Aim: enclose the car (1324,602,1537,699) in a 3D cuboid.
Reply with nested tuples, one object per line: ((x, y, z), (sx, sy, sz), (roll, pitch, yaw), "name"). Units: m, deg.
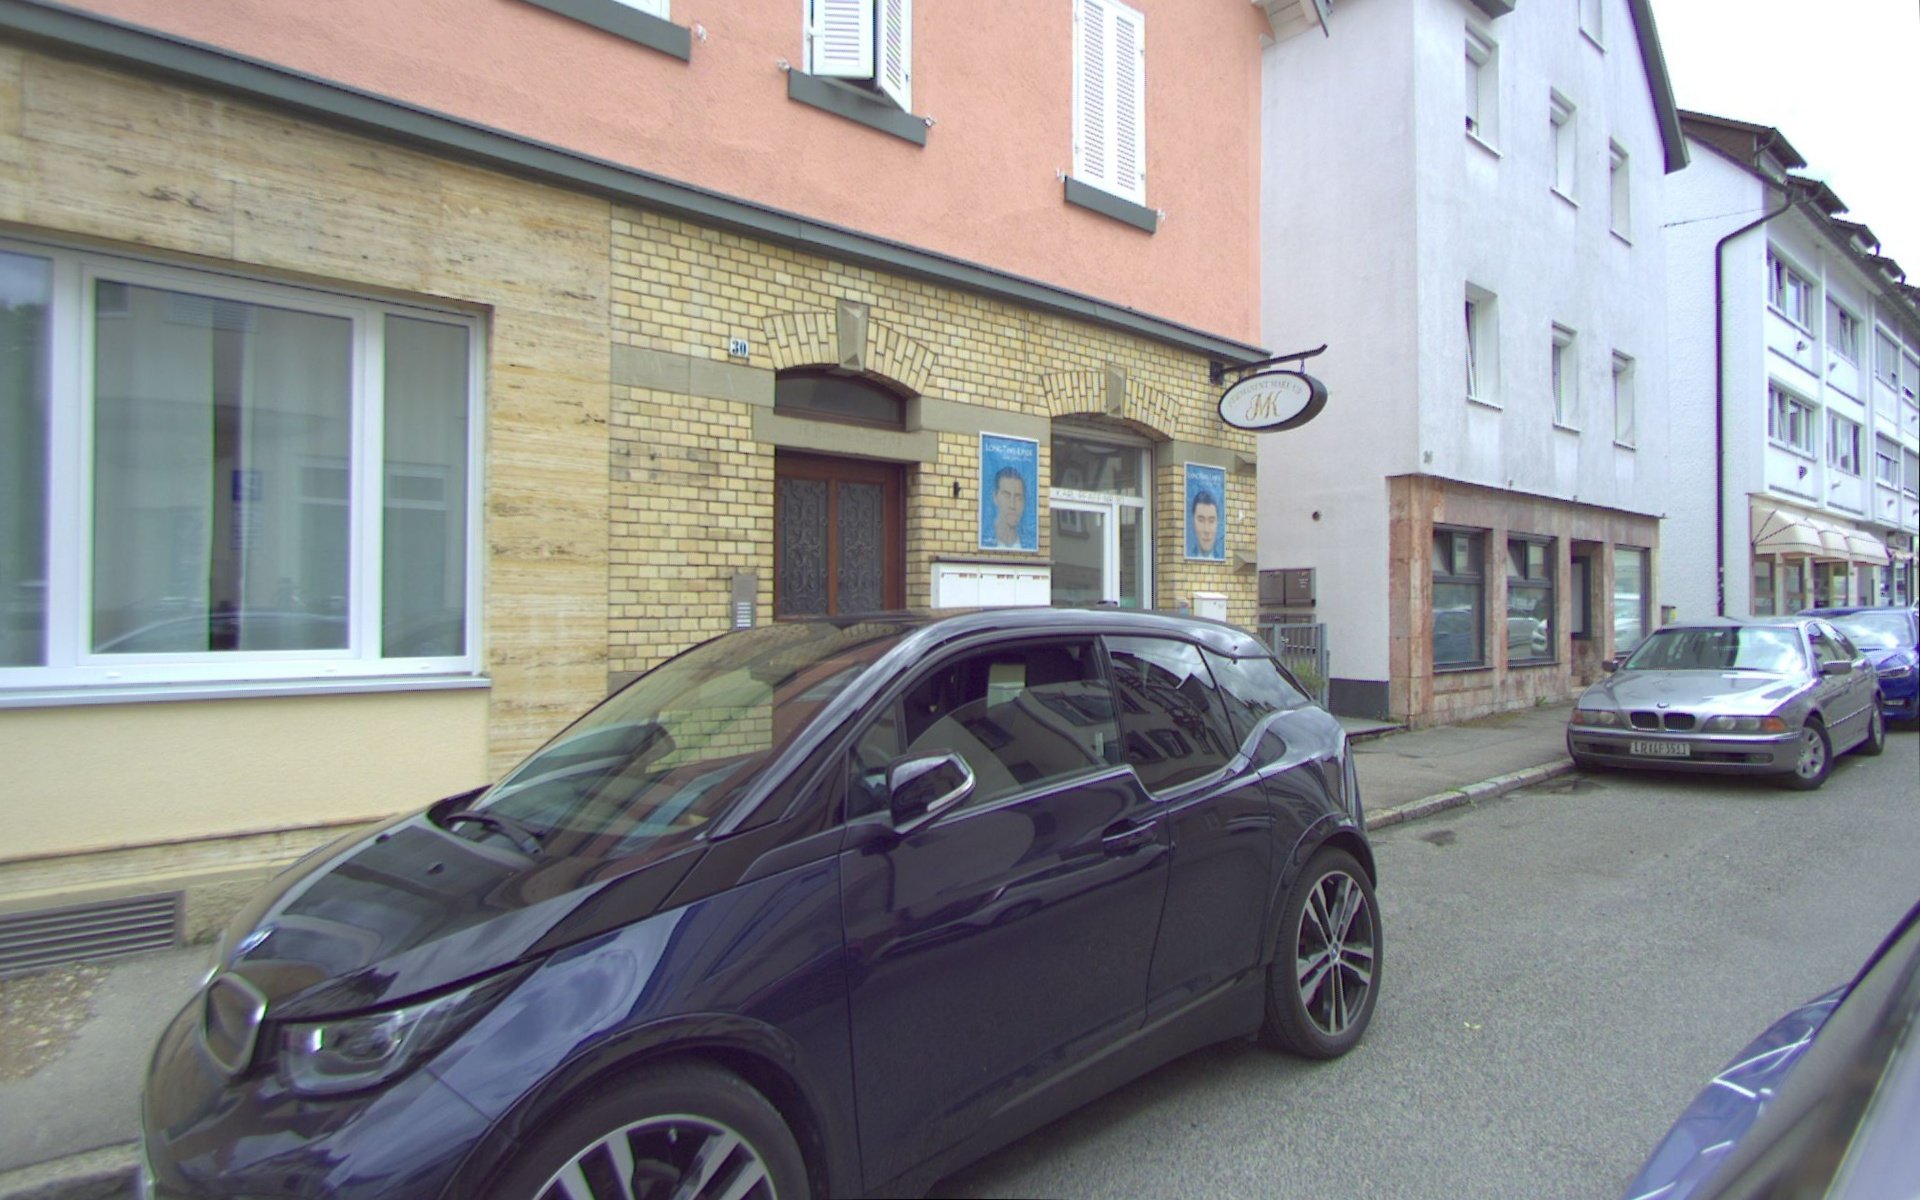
((8.380, 0.836, 17.930), (3.937, 1.451, 1.648), (-1, -1, -36), "car")

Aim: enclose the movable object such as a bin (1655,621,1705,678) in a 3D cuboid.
((12.542, 0.851, 17.629), (0.512, 0.941, 0.570), (1, 1, -38), "movable object such as a bin")

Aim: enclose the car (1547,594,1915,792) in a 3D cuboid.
((7.607, 0.747, 9.813), (4.497, 1.435, 1.789), (-1, -3, -40), "car")

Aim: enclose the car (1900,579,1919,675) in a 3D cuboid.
((19.410, 0.439, 19.017), (4.413, 1.727, 1.900), (-1, -1, -39), "car")

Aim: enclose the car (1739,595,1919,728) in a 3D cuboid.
((11.752, 0.696, 13.083), (3.857, 1.451, 1.755), (-1, -1, -39), "car")

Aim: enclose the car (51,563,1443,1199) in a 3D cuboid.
((-0.247, 0.770, 3.264), (3.957, 1.563, 1.820), (0, -3, -42), "car")
